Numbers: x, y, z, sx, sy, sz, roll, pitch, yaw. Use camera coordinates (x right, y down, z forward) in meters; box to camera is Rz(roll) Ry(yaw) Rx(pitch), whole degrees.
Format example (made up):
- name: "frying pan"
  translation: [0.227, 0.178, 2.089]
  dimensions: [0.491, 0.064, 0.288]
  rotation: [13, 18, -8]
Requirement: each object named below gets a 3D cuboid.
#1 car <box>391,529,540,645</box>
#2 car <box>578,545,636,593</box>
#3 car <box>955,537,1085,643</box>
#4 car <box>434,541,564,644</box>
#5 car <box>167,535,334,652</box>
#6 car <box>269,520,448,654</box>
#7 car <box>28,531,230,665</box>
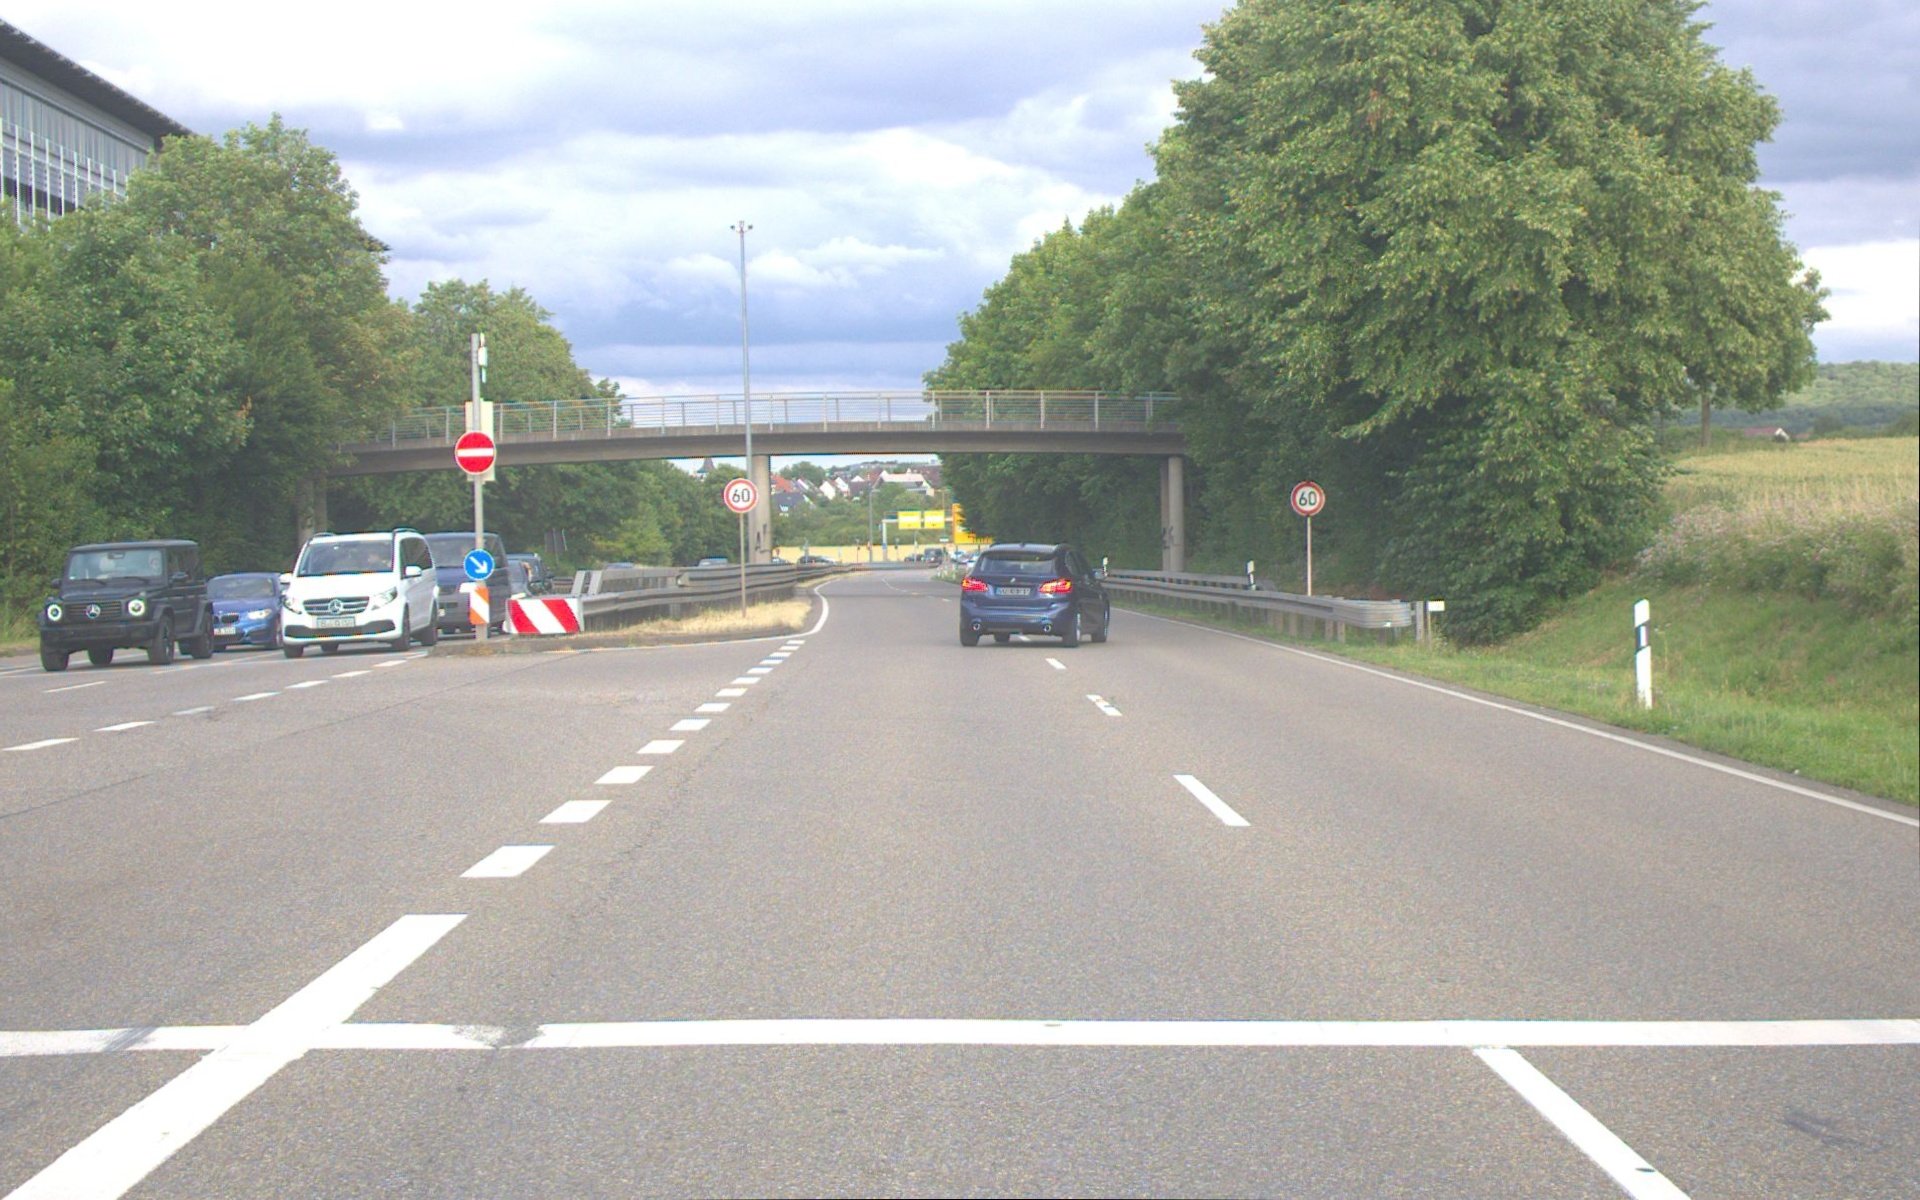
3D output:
- name: "car"
  translation: [-8.946, -0.257, 62.596]
  dimensions: [2.083, 2.007, 5.217]
  rotation: [1, 1, -2]
- name: "car"
  translation: [-15.102, -1.330, 147.350]
  dimensions: [2.083, 2.007, 5.217]
  rotation: [1, 1, -2]
- name: "car"
  translation: [0.953, -0.170, 52.709]
  dimensions: [1.880, 1.547, 4.000]
  rotation: [1, 1, 2]
- name: "car"
  translation: [-9.364, -0.176, 70.163]
  dimensions: [2.083, 2.007, 5.217]
  rotation: [1, 1, -2]
- name: "car"
  translation: [-12.789, -0.138, 62.251]
  dimensions: [2.083, 2.007, 5.217]
  rotation: [1, 1, -2]
- name: "car"
  translation: [-9.526, -0.226, 54.859]
  dimensions: [2.083, 2.007, 5.217]
  rotation: [1, 1, -2]
- name: "car"
  translation: [-13.160, -0.064, 54.750]
  dimensions: [2.083, 2.007, 5.217]
  rotation: [1, 1, -2]
